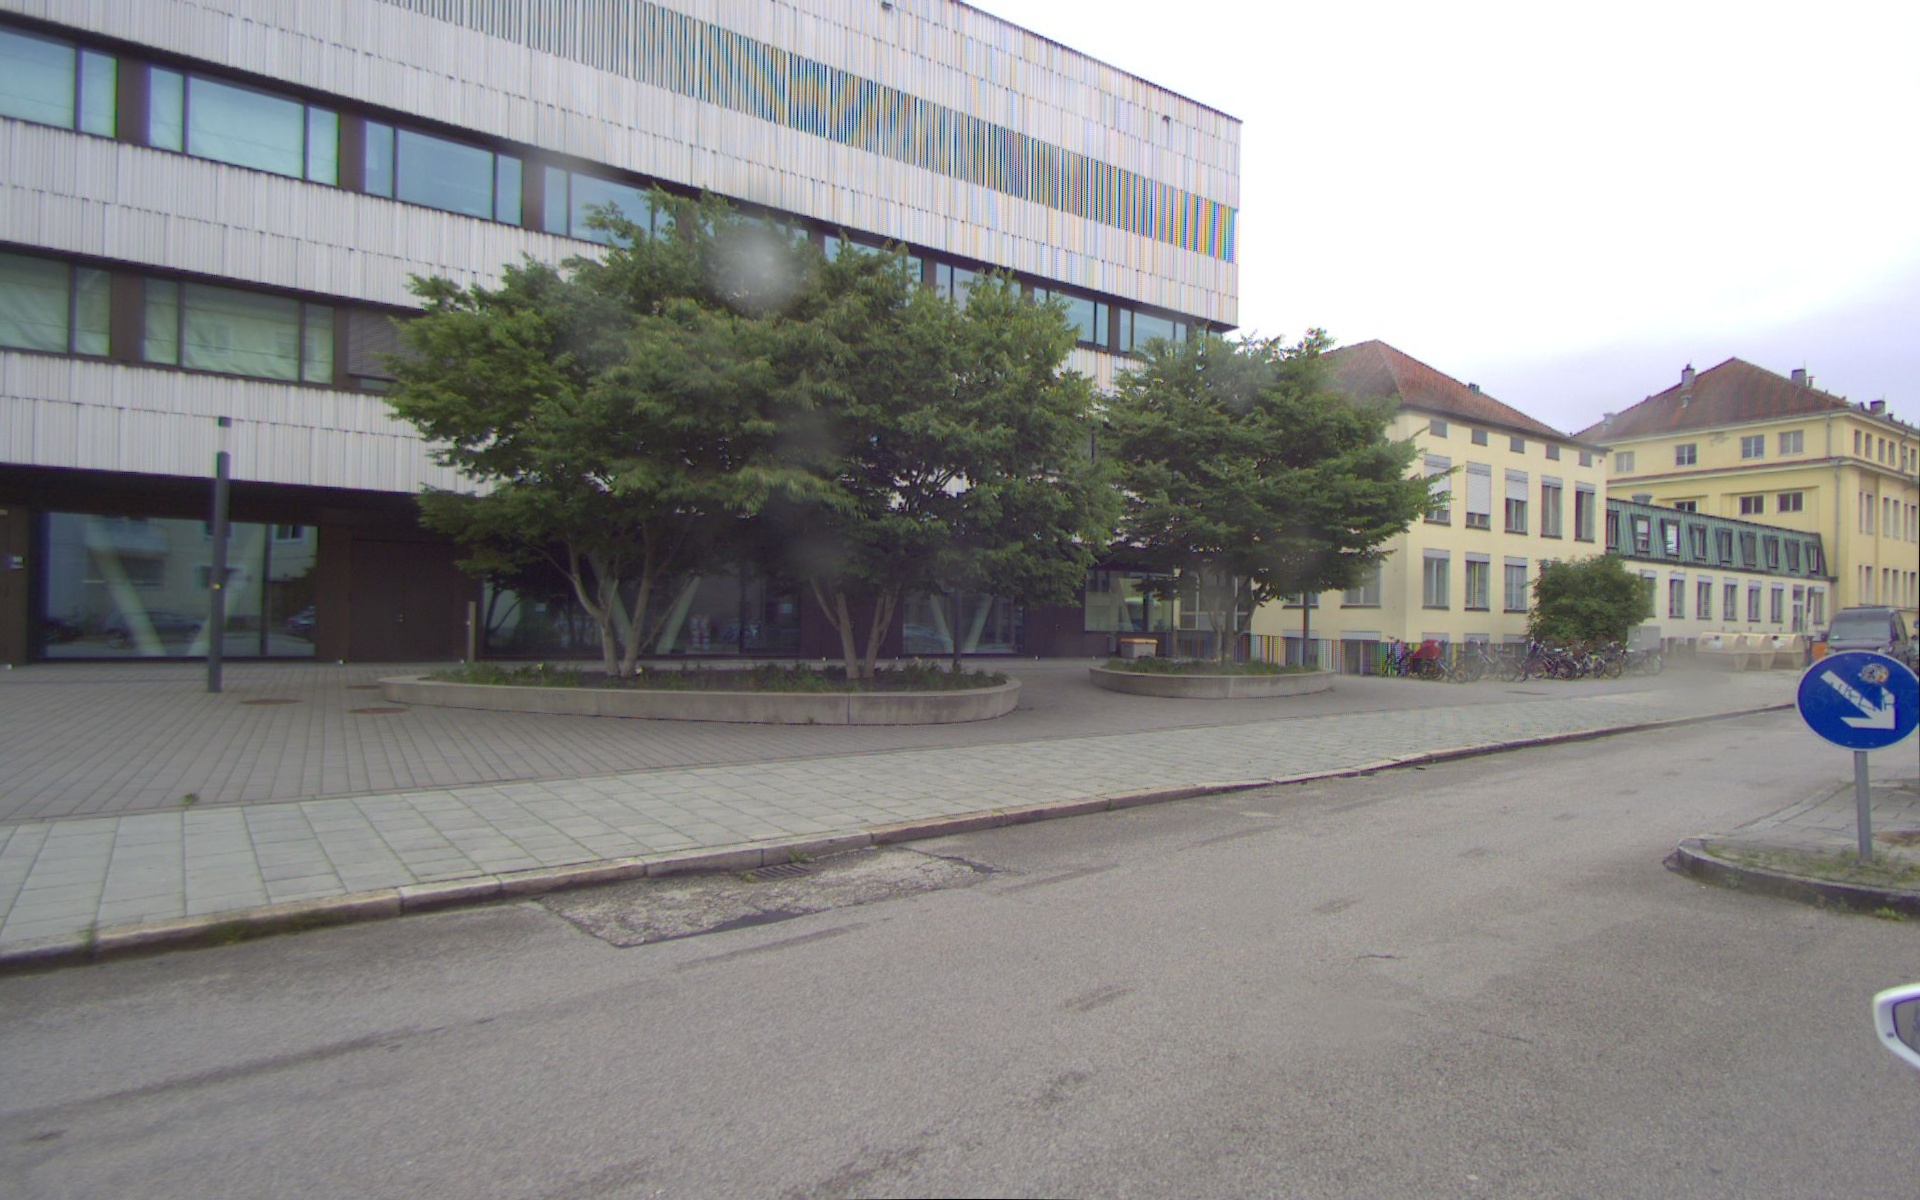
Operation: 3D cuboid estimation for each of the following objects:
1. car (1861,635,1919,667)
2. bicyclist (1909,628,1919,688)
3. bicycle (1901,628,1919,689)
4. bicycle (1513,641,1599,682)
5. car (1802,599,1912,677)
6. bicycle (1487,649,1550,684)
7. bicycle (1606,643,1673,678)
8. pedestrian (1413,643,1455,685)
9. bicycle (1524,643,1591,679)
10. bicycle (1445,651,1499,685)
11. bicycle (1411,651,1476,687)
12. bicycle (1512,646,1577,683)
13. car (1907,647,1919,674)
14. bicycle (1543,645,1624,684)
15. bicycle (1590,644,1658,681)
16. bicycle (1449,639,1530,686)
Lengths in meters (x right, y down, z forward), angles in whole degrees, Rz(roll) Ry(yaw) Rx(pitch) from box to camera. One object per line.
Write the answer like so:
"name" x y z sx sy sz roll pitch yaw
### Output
"car" 53.730 2.933 57.942 3.708 1.683 1.709 1 1 -34
"bicyclist" 33.023 1.975 34.197 0.760 2.039 0.762 1 -4 -34
"bicycle" 32.928 1.957 34.112 2.818 2.040 0.743 1 -3 -34
"bicycle" 19.353 1.970 32.684 0.419 1.222 2.543 1 -1 -28
"car" 34.244 1.490 38.269 5.907 2.750 2.401 3 -3 -41
"bicycle" 17.419 2.061 31.368 0.588 0.928 1.667 1 1 -29
"bicycle" 24.523 2.159 36.291 0.669 1.106 1.896 1 1 -29
"pedestrian" 14.103 1.884 29.885 1.030 1.178 0.713 1 1 -34
"bicycle" 19.750 2.014 33.240 0.533 1.043 1.858 1 1 -28
"bicycle" 14.875 1.954 29.221 0.434 0.874 1.364 1 1 -32
"bicycle" 13.876 1.976 28.880 0.434 0.874 1.709 1 1 -32
"bicycle" 18.756 2.047 32.272 0.501 1.047 1.783 1 1 -28
"car" 46.889 2.917 47.983 3.699 1.218 1.520 1 1 -32
"bicycle" 21.003 2.154 33.888 0.574 1.150 2.300 1 1 -28
"bicycle" 23.259 2.169 35.233 0.566 1.147 1.948 1 1 -28
"bicycle" 16.097 1.881 30.594 0.777 1.244 2.095 1 1 -29
